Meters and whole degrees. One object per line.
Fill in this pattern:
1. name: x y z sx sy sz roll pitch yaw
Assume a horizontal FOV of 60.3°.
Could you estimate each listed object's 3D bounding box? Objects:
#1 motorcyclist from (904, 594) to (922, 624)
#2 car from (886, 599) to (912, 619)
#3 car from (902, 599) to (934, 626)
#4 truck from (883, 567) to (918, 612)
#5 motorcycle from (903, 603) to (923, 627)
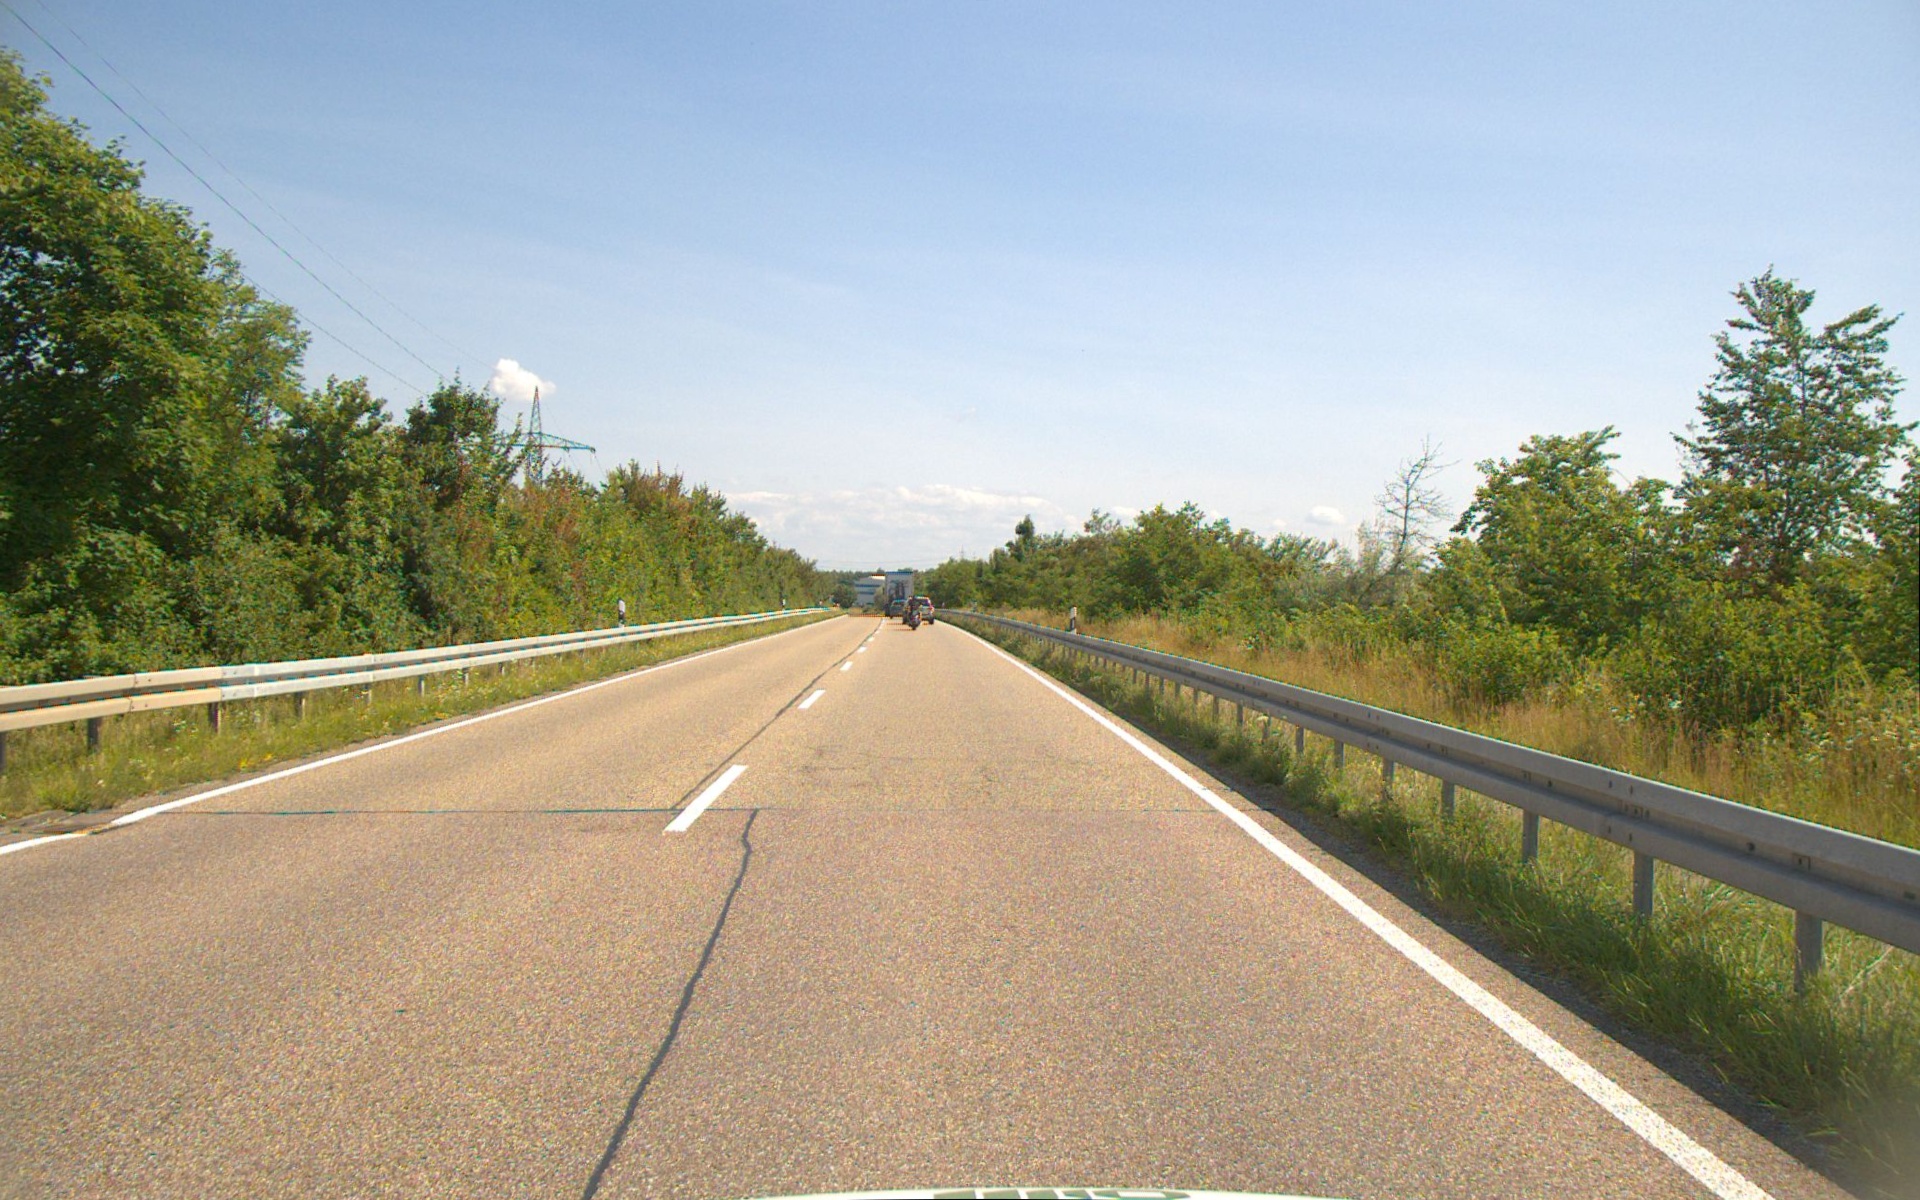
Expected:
1. motorcyclist: -2.139 0.392 75.873 0.764 1.348 0.813 0 1 1
2. car: -4.770 0.725 128.872 1.827 1.445 4.001 1 1 1
3. car: -2.476 0.692 96.683 1.789 1.476 3.998 0 1 -3
4. truck: -5.679 -1.007 156.010 3.177 4.048 9.438 0 0 -3
5. motorcycle: -2.152 0.677 75.856 0.764 0.992 2.362 0 1 1
